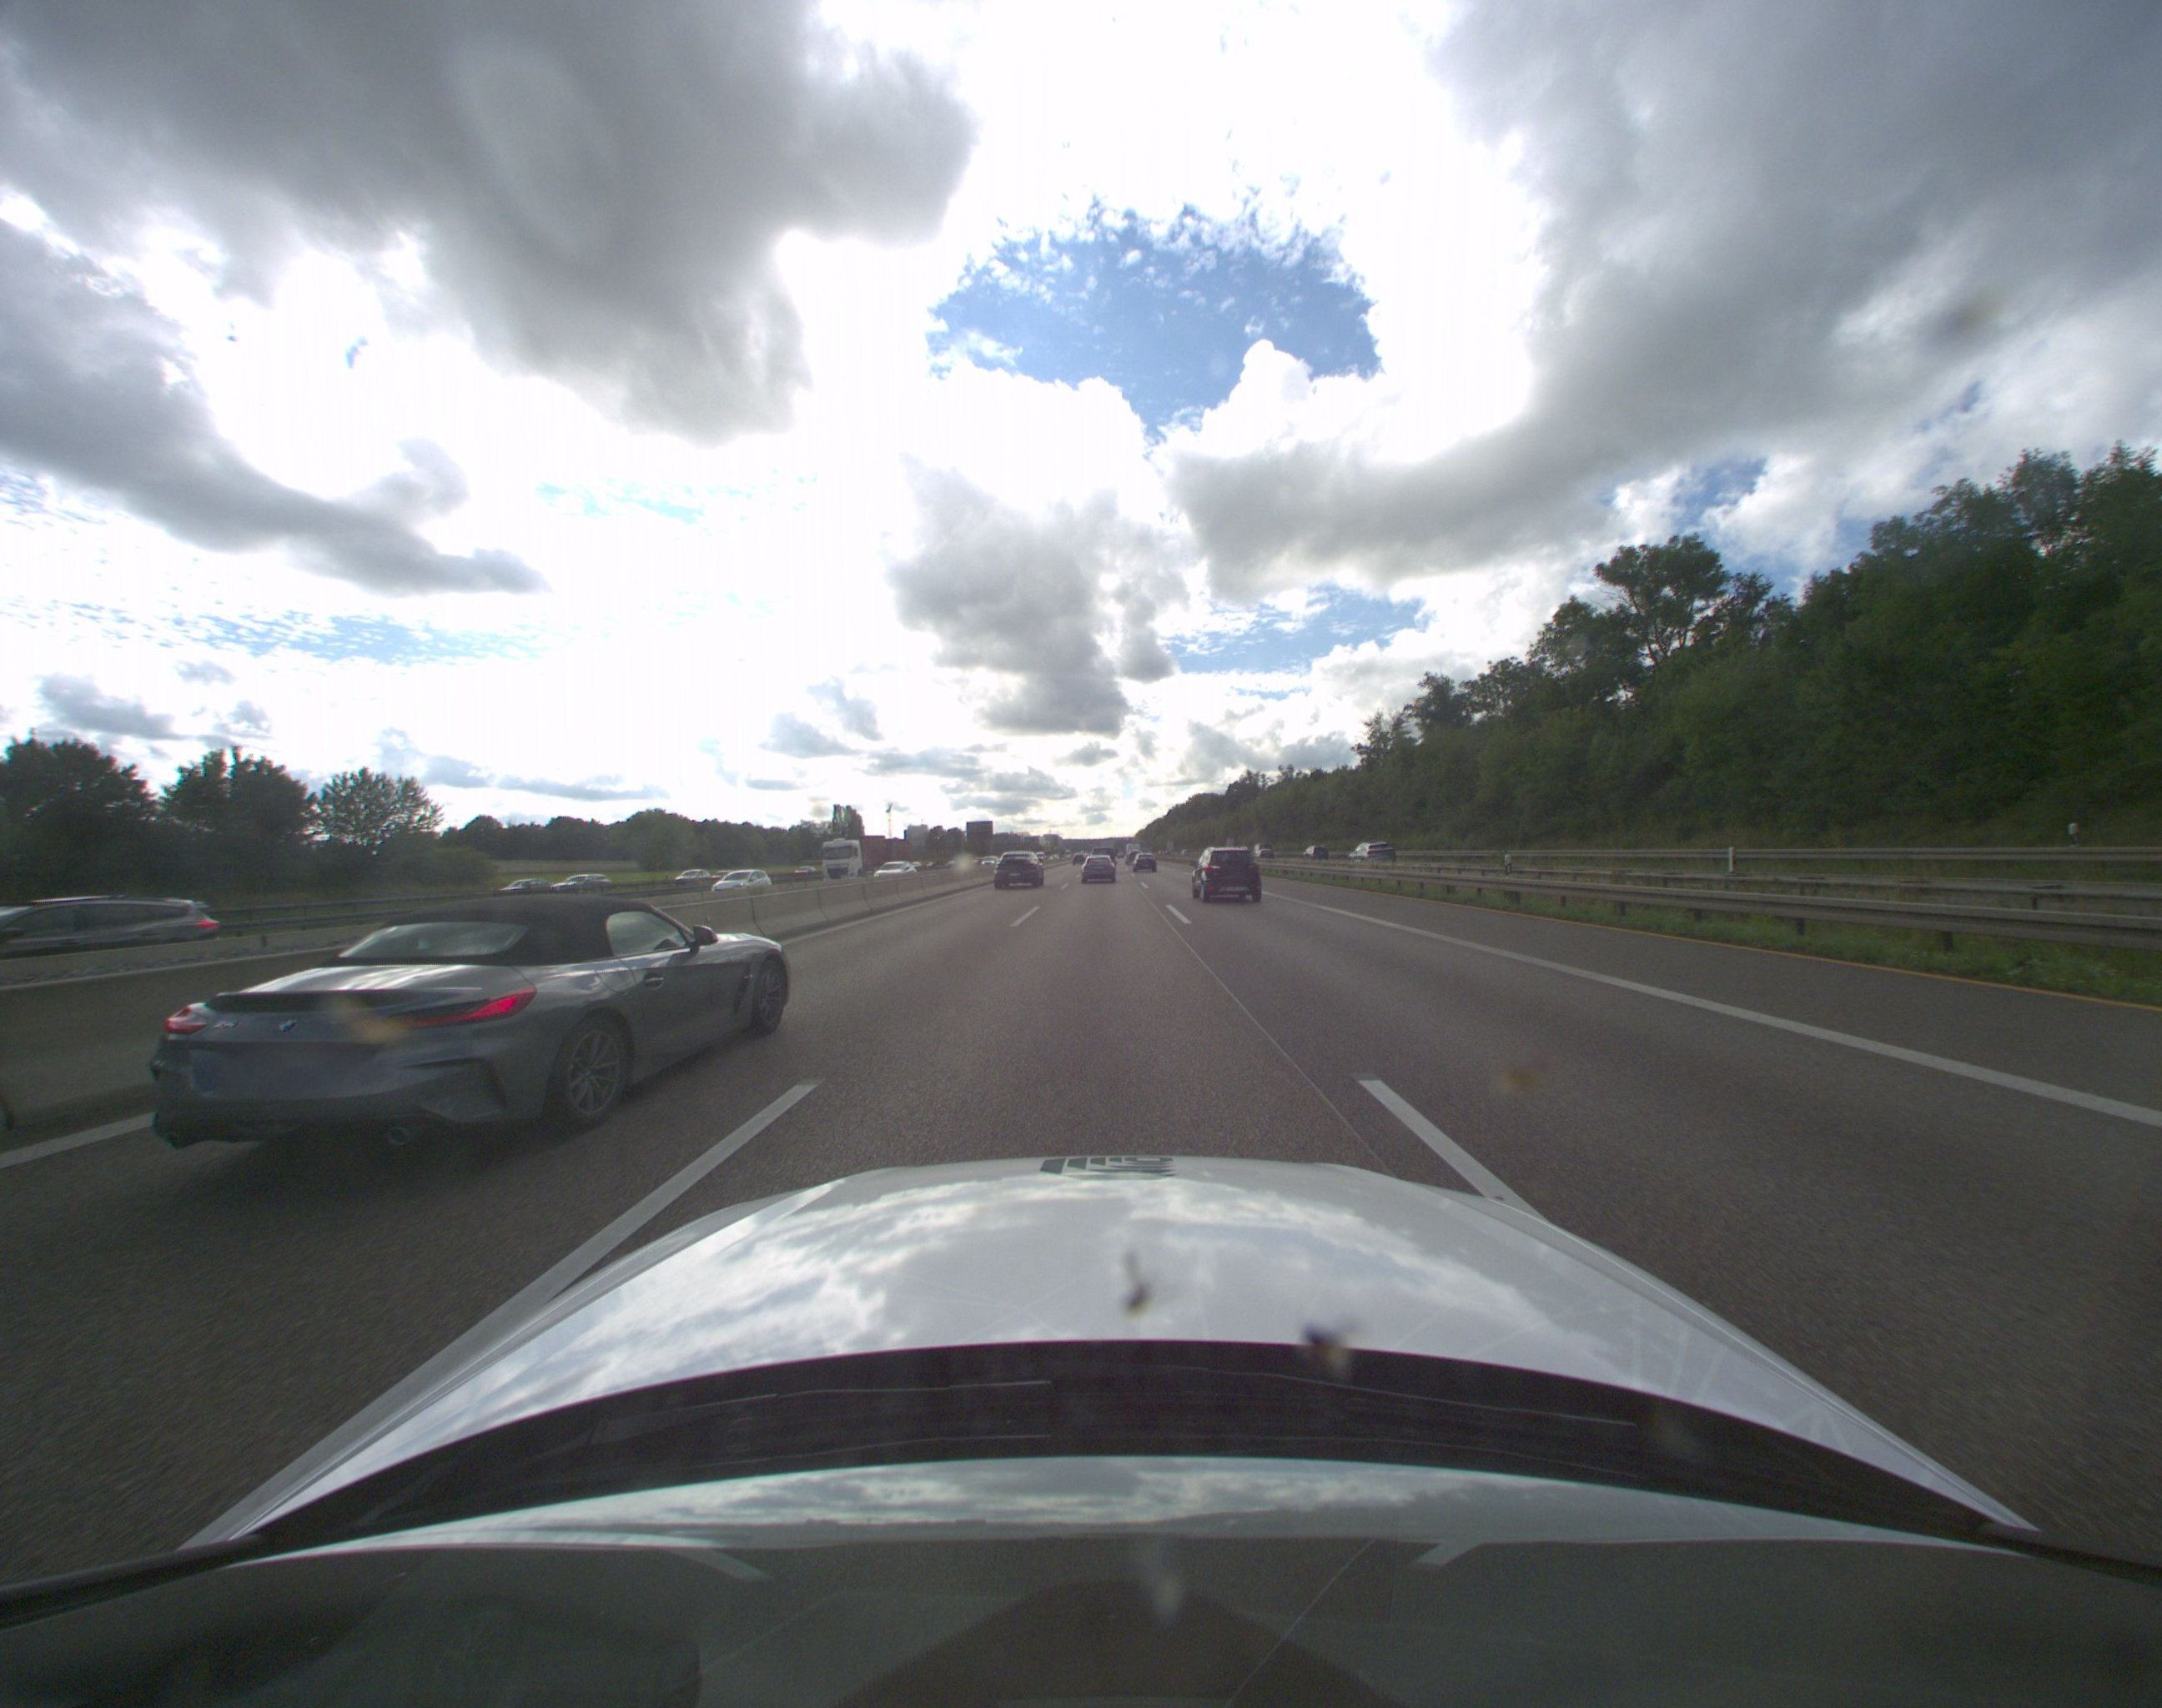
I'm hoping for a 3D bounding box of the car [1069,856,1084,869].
[{"bbox_3d":[-0.630,1.197,112.928,1.866,1.698,4.073,-2,0,2],"label":"car"}]

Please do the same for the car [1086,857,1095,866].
[{"bbox_3d":[1.793,1.481,158.216,1.691,1.611,4.115,-2,0,1],"label":"car"}]

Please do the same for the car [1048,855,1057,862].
[{"bbox_3d":[-7.039,1.016,201.405,1.757,1.731,4.705,-1,0,2],"label":"car"}]

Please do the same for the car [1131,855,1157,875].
[{"bbox_3d":[4.935,0.828,64.293,1.825,1.521,4.226,-1,0,2],"label":"car"}]

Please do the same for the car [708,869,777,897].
[{"bbox_3d":[-17.124,1.434,41.384,1.649,1.192,4.132,-2,0,1],"label":"car"}]

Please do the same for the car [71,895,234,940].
[{"bbox_3d":[-39.318,2.661,34.668,1.722,1.533,4.454,-2,0,2],"label":"car"}]

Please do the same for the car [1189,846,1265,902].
[{"bbox_3d":[4.480,0.588,25.586,1.691,1.564,4.115,-2,0,1],"label":"car"}]

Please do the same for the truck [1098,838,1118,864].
[{"bbox_3d":[4.834,-0.494,145.442,3.251,4.375,11.030,-1,0,2],"label":"truck"}]

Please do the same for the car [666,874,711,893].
[{"bbox_3d":[-34.981,2.607,72.767,1.722,1.533,4.454,-2,0,2],"label":"car"}]

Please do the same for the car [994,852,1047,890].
[{"bbox_3d":[-2.762,0.729,38.655,1.905,1.636,5.502,-1,0,2],"label":"car"}]

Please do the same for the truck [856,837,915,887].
[{"bbox_3d":[-18.070,0.711,75.848,3.035,4.288,8.591,-2,0,1],"label":"truck"}]

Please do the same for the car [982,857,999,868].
[{"bbox_3d":[-12.724,1.203,114.679,1.757,1.532,4.943,-2,0,1],"label":"car"}]

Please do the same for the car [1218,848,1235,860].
[{"bbox_3d":[21.435,-0.033,119.946,1.745,1.695,4.192,-1,0,2],"label":"car"}]

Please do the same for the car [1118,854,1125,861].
[{"bbox_3d":[10.470,0.945,212.892,1.745,1.695,4.192,-1,0,2],"label":"car"}]

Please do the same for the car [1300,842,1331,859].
[{"bbox_3d":[22.967,-0.309,79.797,1.723,1.546,4.305,-4,0,0],"label":"car"}]

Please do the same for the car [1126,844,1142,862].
[{"bbox_3d":[6.905,-0.154,107.042,1.866,2.357,4.283,-1,0,2],"label":"car"}]

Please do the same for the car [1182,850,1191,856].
[{"bbox_3d":[27.618,-0.272,213.494,1.746,1.517,4.190,-1,0,1],"label":"car"}]

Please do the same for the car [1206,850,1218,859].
[{"bbox_3d":[25.198,0.122,156.280,1.745,1.695,4.192,-1,0,2],"label":"car"}]

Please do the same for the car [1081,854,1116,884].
[{"bbox_3d":[0.932,0.745,43.201,1.714,1.479,4.393,-1,0,2],"label":"car"}]

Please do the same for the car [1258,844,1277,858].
[{"bbox_3d":[24.293,-0.355,106.021,1.590,1.804,3.825,-1,0,0],"label":"car"}]

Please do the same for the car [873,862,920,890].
[{"bbox_3d":[-11.263,1.308,49.976,1.682,1.505,4.644,-2,0,1],"label":"car"}]

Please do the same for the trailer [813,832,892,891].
[{"bbox_3d":[-18.294,0.574,66.134,3.035,4.288,10.658,-2,0,1],"label":"trailer"}]

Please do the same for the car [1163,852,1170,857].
[{"bbox_3d":[24.370,0.159,232.126,1.722,1.533,4.454,-2,0,2],"label":"car"}]

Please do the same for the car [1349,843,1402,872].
[{"bbox_3d":[18.573,0.193,51.600,1.840,1.650,4.308,-4,0,2],"label":"car"}]

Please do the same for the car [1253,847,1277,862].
[{"bbox_3d":[19.497,0.021,86.594,1.590,1.546,4.190,-1,0,0],"label":"car"}]

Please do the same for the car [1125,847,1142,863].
[{"bbox_3d":[6.471,0.145,99.839,1.906,1.919,4.032,-1,0,2],"label":"car"}]

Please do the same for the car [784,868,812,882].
[{"bbox_3d":[-34.396,2.584,99.088,1.722,1.533,4.454,-2,0,2],"label":"car"}]

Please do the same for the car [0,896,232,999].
[{"bbox_3d":[-16.002,1.422,12.400,1.574,1.284,4.243,-2,0,2],"label":"car"}]

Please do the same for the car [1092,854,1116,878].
[{"bbox_3d":[1.771,0.865,61.501,1.714,1.724,4.393,-1,0,2],"label":"car"}]

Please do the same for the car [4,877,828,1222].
[{"bbox_3d":[-3.652,0.916,5.991,1.866,1.302,4.944,-1,0,2],"label":"car"}]
